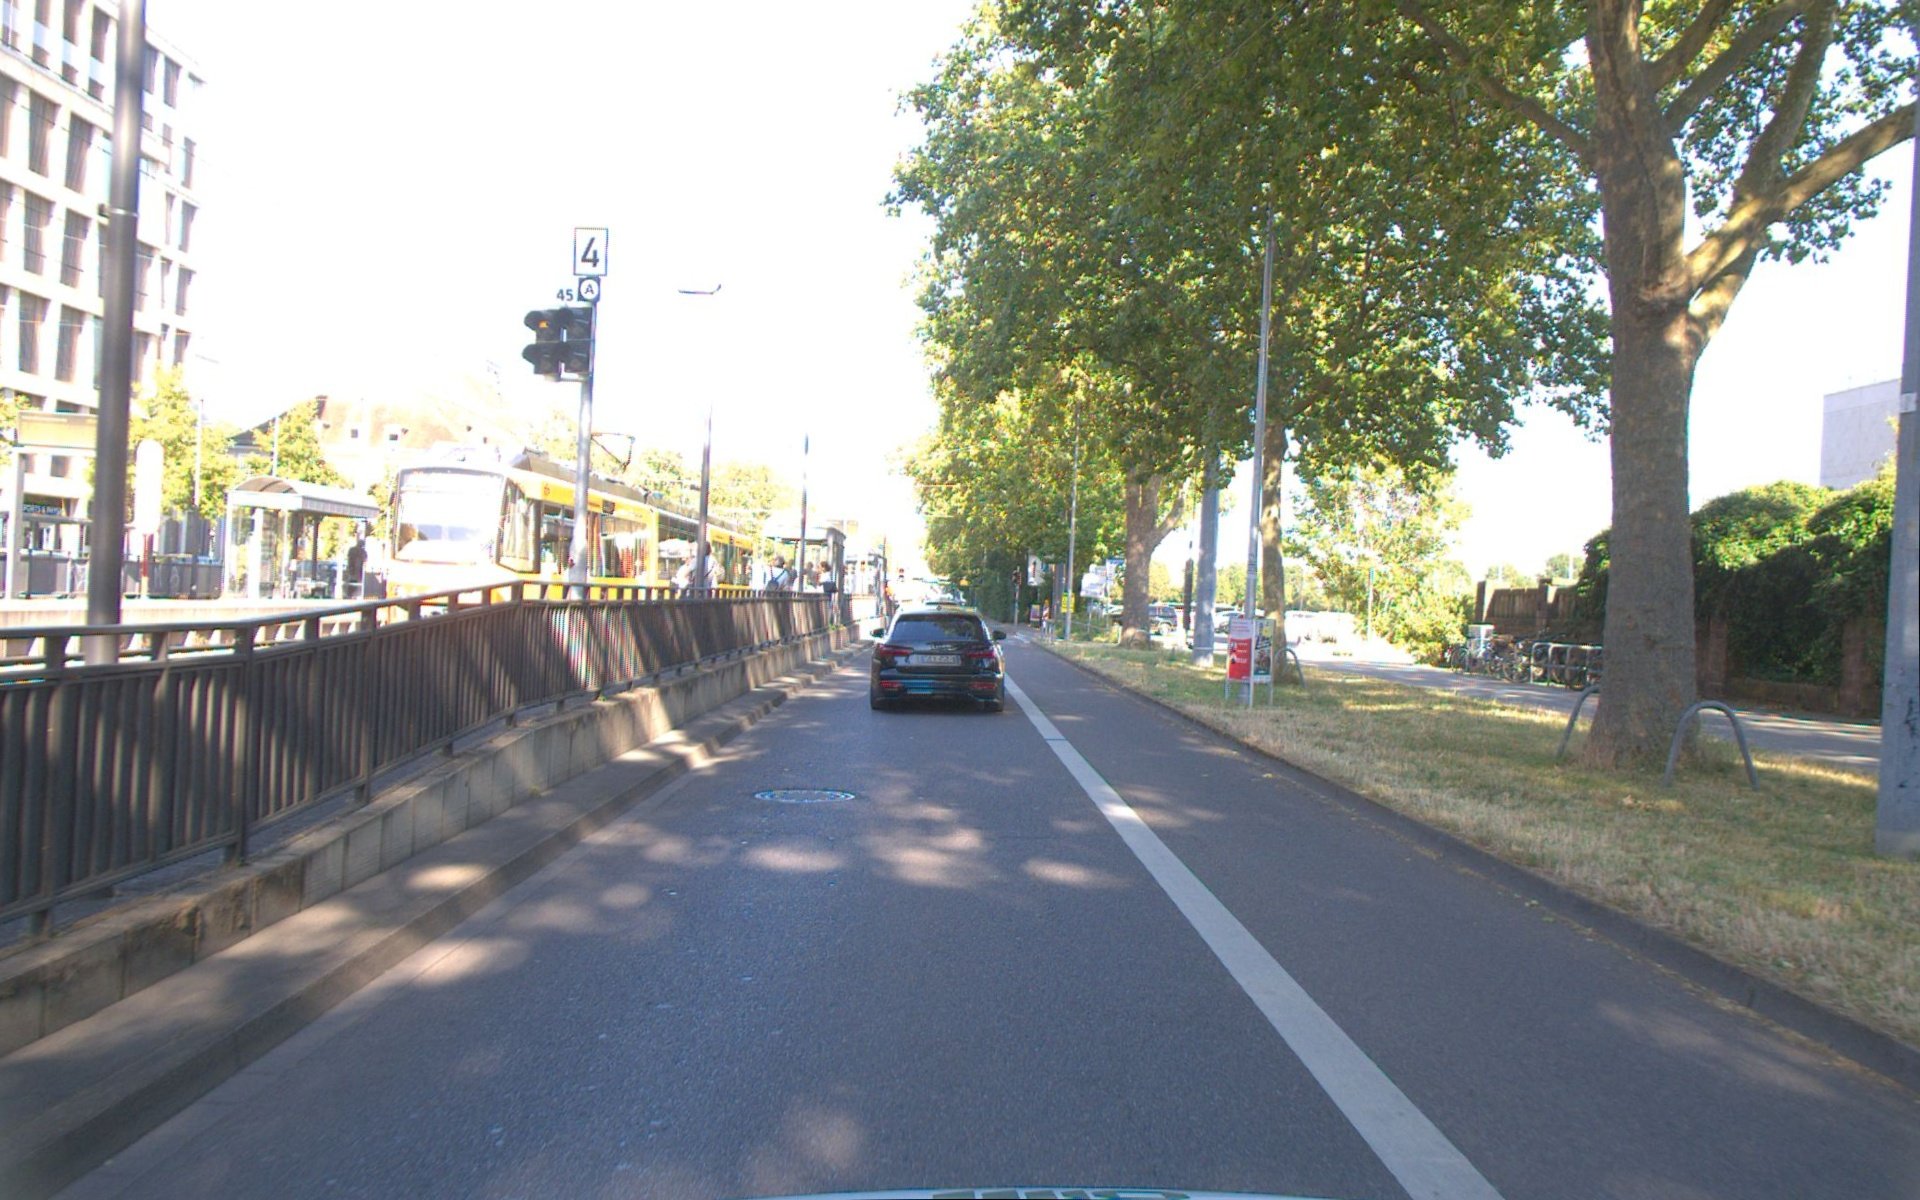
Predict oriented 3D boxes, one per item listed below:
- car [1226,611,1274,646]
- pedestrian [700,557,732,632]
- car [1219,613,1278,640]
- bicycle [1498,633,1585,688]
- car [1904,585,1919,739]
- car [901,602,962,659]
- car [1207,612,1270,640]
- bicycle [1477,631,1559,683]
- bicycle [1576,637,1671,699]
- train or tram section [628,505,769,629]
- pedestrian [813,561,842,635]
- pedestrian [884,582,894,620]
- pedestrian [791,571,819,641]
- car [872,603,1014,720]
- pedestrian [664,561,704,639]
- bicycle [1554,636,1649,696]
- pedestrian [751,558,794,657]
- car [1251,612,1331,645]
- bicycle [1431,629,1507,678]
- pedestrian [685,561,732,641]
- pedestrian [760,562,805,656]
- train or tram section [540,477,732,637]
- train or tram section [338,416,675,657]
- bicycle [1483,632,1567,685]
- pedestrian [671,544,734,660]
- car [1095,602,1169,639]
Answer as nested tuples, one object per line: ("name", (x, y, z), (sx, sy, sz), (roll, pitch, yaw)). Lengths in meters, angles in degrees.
("car", (14.250, 1.382, 81.469), (1.581, 1.542, 3.802), (3, 0, 0))
("pedestrian", (-6.055, -0.139, 41.016), (0.599, 1.815, 0.775), (3, 0, -1))
("car", (20.130, 1.854, 115.504), (3.735, 1.637, 1.670), (3, 0, 0))
("bicycle", (12.770, 1.326, 36.313), (1.737, 1.140, 0.439), (2, 0, -2))
("car", (18.572, 1.194, 26.786), (5.351, 2.533, 1.999), (4, 0, -2))
("car", (-0.937, 0.940, 52.767), (1.727, 1.647, 3.998), (3, 0, -3))
("car", (20.823, 1.907, 123.789), (4.267, 1.847, 1.998), (3, 0, -5))
("bicycle", (12.974, 1.322, 38.449), (1.737, 1.140, 0.439), (2, 0, -2))
("bicycle", (12.896, 1.322, 32.166), (1.653, 1.140, 0.439), (2, 0, -2))
("train or tram section", (-9.234, -1.070, 60.010), (3.242, 3.896, 11.841), (3, 0, -1))
("pedestrian", (-3.323, -0.060, 41.459), (0.599, 1.815, 0.613), (3, 0, -1))
("pedestrian", (-3.372, 0.056, 78.519), (0.403, 1.746, 0.665), (3, 0, -1))
("pedestrian", (-4.135, 0.155, 44.045), (0.597, 1.815, 0.681), (3, 0, -1))
("car", (-0.305, 0.812, 23.475), (1.841, 1.482, 3.355), (1, 0, -3))
("pedestrian", (-6.587, -0.004, 39.482), (0.777, 1.815, 0.625), (3, 0, -1))
("bicycle", (12.885, 1.324, 33.232), (1.737, 1.140, 0.439), (2, 0, -2))
("pedestrian", (-3.290, 0.135, 29.062), (0.599, 1.697, 0.613), (3, 0, 1))
("car", (19.709, 1.697, 98.601), (4.365, 1.687, 1.918), (3, 0, 3))
("bicycle", (12.527, 1.314, 40.691), (1.740, 1.140, 0.438), (2, 0, -8))
("pedestrian", (-5.875, 0.032, 38.658), (0.788, 1.815, 0.639), (3, -1, -41))
("pedestrian", (-3.216, 0.159, 29.925), (0.602, 1.671, 0.610), (3, 0, -20))
("train or tram section", (-9.085, -1.088, 48.167), (3.242, 3.896, 11.841), (3, 0, -1))
("train or tram section", (-8.888, -1.060, 35.064), (3.242, 3.896, 14.216), (3, 0, -1))
("bicycle", (12.765, 1.321, 37.400), (1.737, 1.140, 0.439), (2, 0, -2))
("pedestrian", (-3.607, 0.026, 23.216), (0.601, 1.575, 0.725), (3, 0, 9))
("car", (9.592, 1.142, 92.513), (3.906, 1.795, 1.833), (3, 0, 0))
